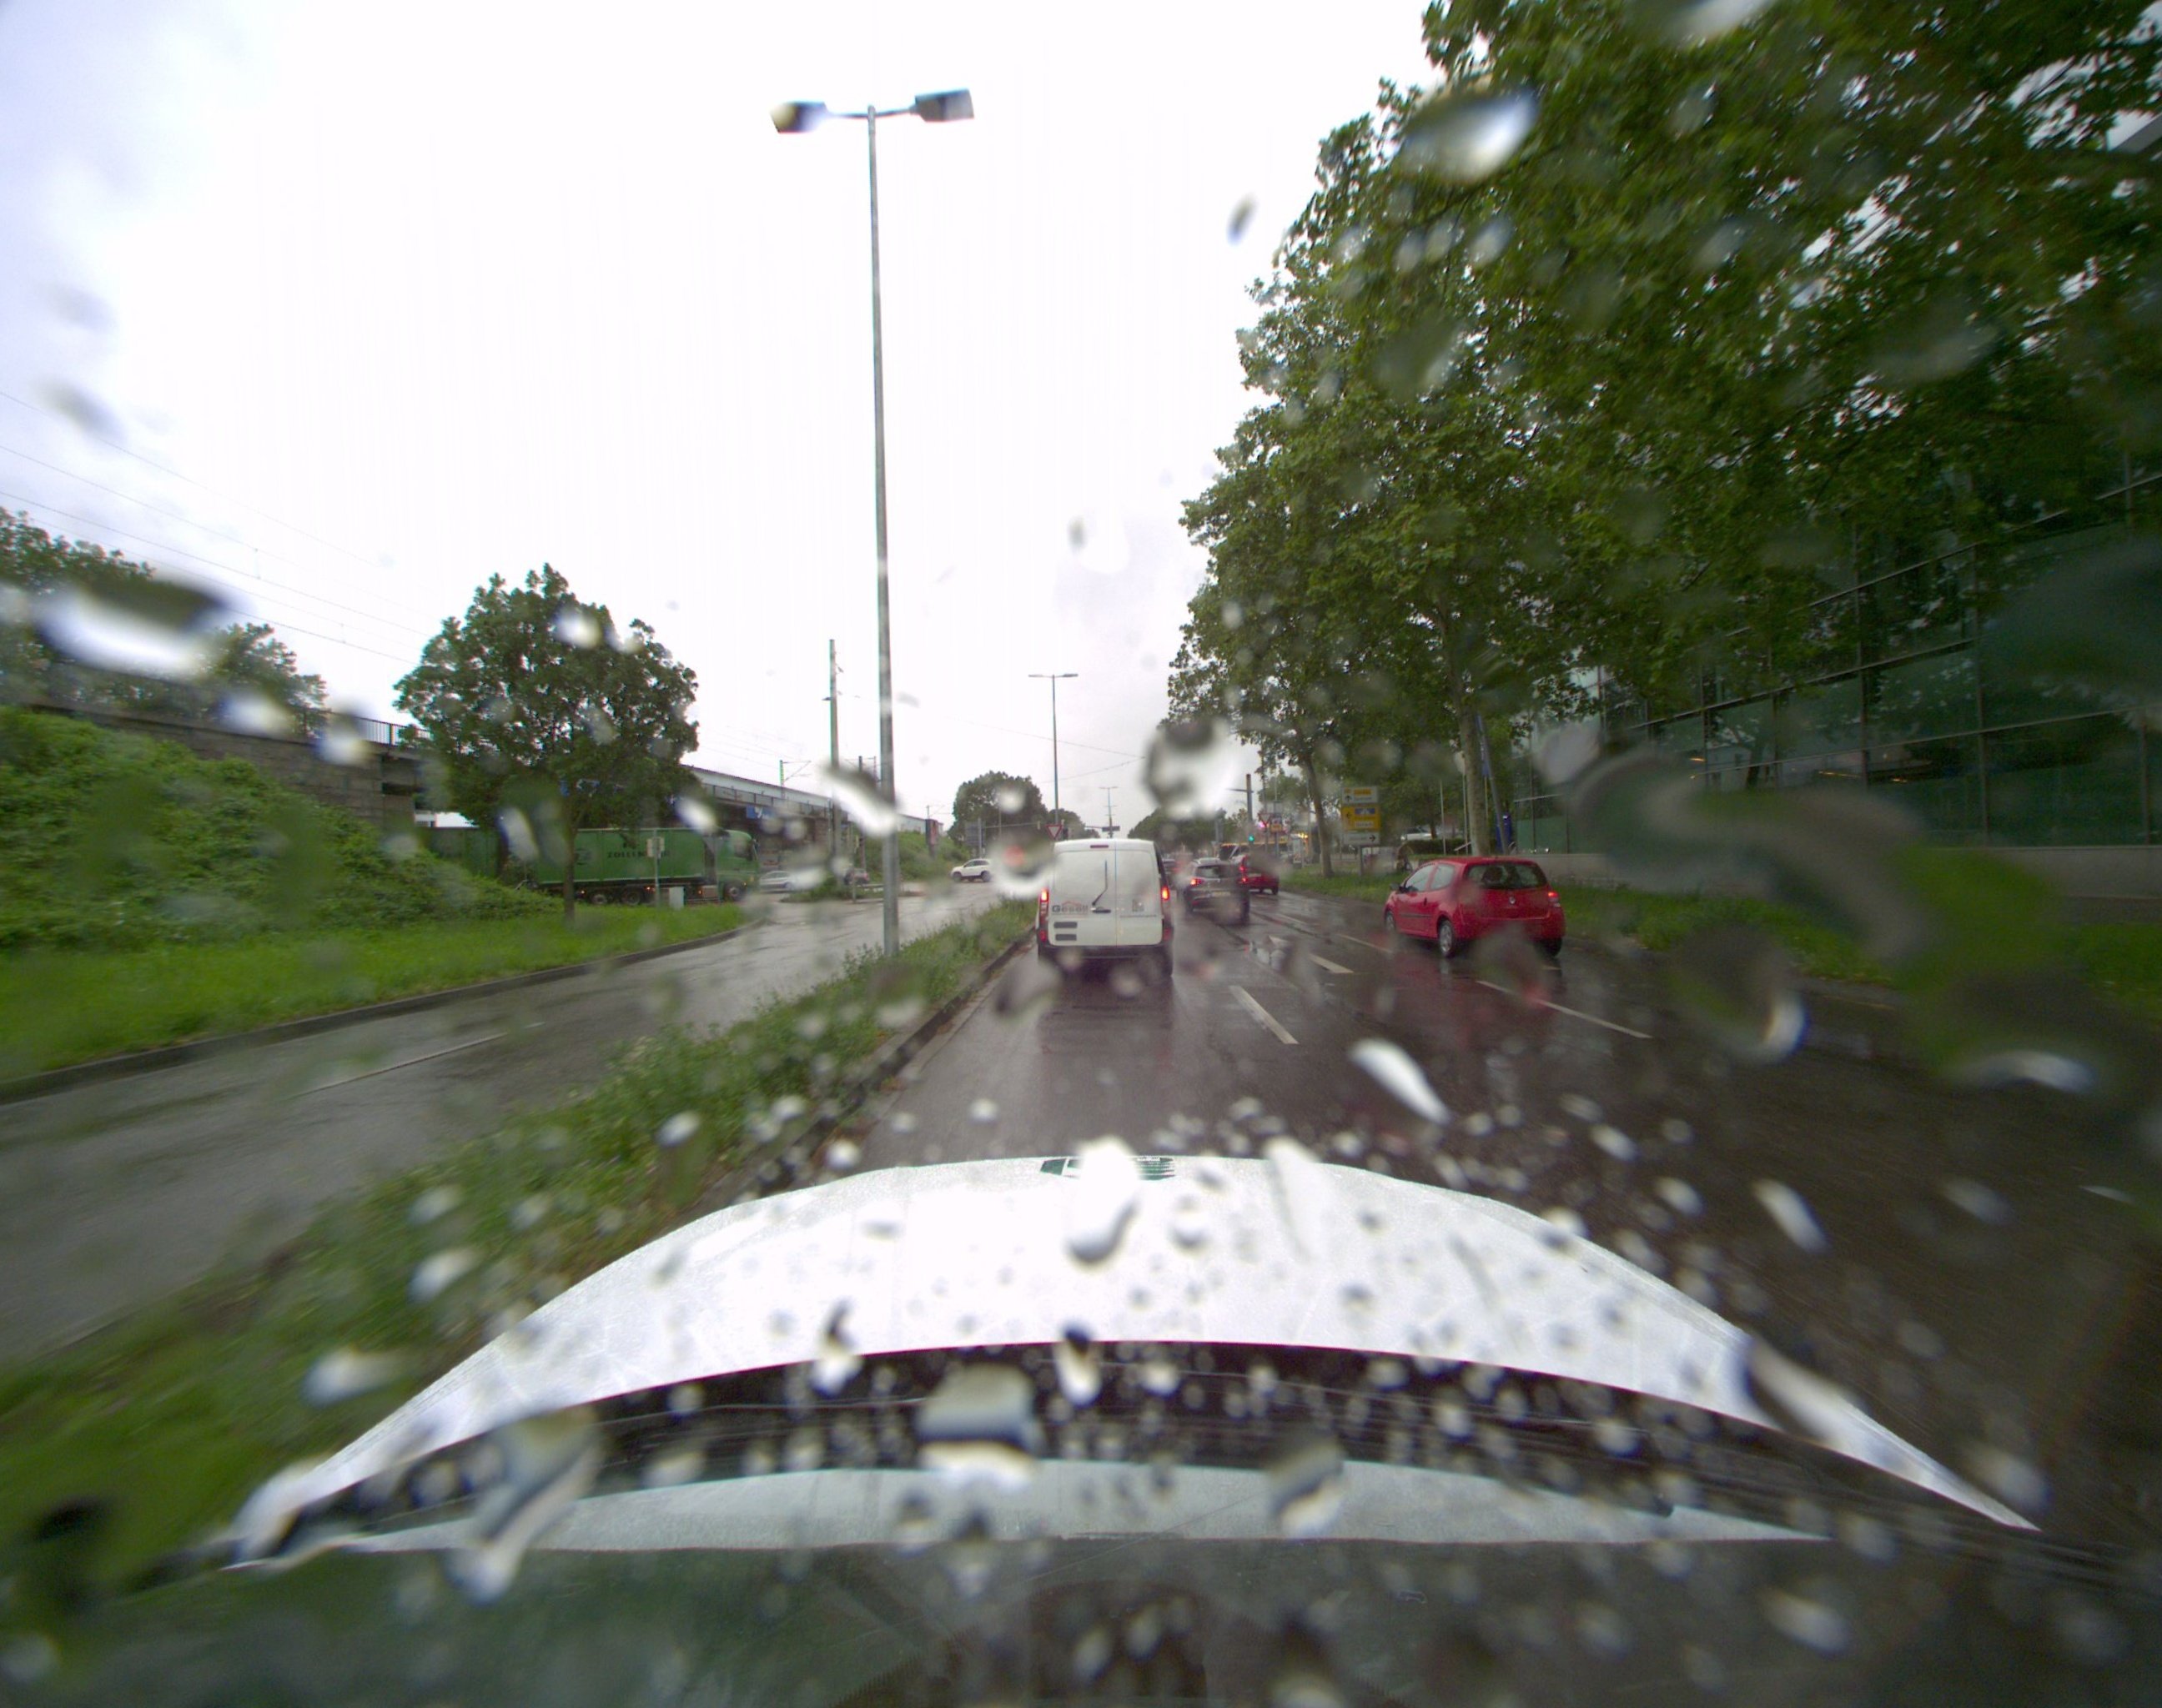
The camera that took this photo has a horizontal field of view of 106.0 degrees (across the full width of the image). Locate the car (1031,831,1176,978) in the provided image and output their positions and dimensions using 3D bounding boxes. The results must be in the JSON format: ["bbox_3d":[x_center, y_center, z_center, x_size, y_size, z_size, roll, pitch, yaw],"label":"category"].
[{"bbox_3d":[0.336,0.625,11.943,1.749,1.777,4.002,-1,0,2],"label":"car"}]

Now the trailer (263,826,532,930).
[{"bbox_3d":[-28.880,0.899,35.090,8.556,3.987,2.660,-2,-1,-35],"label":"trailer"}]

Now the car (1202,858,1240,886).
[{"bbox_3d":[8.424,1.051,49.305,1.835,1.618,4.003,-1,-1,3],"label":"car"}]

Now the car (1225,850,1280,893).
[{"bbox_3d":[6.983,0.701,33.365,1.626,1.656,3.486,0,0,2],"label":"car"}]

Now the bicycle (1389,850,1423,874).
[{"bbox_3d":[16.031,0.398,40.213,0.741,1.104,2.076,-4,-1,0],"label":"bicycle"}]

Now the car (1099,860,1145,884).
[{"bbox_3d":[2.921,1.308,58.790,2.000,1.619,3.919,-2,-1,-19],"label":"car"}]

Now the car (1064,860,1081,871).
[{"bbox_3d":[-1.037,1.425,101.284,1.824,1.358,3.993,-2,0,-4],"label":"car"}]

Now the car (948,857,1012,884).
[{"bbox_3d":[-7.671,1.277,61.804,4.384,1.846,2.013,-3,-1,30],"label":"car"}]

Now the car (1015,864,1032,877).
[{"bbox_3d":[-7.167,2.000,101.040,1.822,1.482,3.998,-2,0,-1],"label":"car"}]

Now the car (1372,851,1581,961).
[{"bbox_3d":[6.118,0.732,13.091,1.672,1.491,3.623,-1,0,2],"label":"car"}]

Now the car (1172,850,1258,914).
[{"bbox_3d":[3.648,0.734,22.801,1.836,1.618,4.001,-1,-1,2],"label":"car"}]

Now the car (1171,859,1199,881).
[{"bbox_3d":[8.211,1.223,64.648,1.985,1.574,4.005,-2,0,4],"label":"car"}]

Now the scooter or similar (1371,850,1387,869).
[{"bbox_3d":[19.293,0.341,52.746,1.181,1.138,0.337,-2,-1,-38],"label":"scooter or similar"}]

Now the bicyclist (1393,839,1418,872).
[{"bbox_3d":[15.995,0.079,40.210,0.802,1.515,0.752,-5,-1,-1],"label":"bicyclist"}]

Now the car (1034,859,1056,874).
[{"bbox_3d":[-4.237,1.486,96.561,2.012,1.657,4.067,-2,0,5],"label":"car"}]

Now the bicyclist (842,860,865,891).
[{"bbox_3d":[-12.207,1.147,43.721,1.049,1.593,0.798,0,-2,-26],"label":"bicyclist"}]

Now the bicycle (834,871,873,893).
[{"bbox_3d":[-12.201,1.486,43.719,1.916,1.095,0.689,-1,-1,-26],"label":"bicycle"}]

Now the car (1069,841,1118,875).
[{"bbox_3d":[0.720,0.271,51.728,1.995,1.956,4.800,-3,0,-12],"label":"car"}]

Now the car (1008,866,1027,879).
[{"bbox_3d":[-7.321,2.110,94.599,1.886,1.349,3.999,-2,0,0],"label":"car"}]

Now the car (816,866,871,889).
[{"bbox_3d":[-18.347,1.803,63.092,3.891,1.517,1.800,-2,-1,-14],"label":"car"}]

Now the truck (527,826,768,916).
[{"bbox_3d":[-21.244,0.702,40.425,10.235,3.949,2.659,-2,-1,-34],"label":"truck"}]

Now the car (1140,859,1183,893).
[{"bbox_3d":[4.149,1.118,42.699,1.830,1.656,3.998,0,0,-1],"label":"car"}]

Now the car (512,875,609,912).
[{"bbox_3d":[-26.163,1.934,40.977,4.017,1.574,1.978,-2,0,-35],"label":"car"}]

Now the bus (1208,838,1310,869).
[{"bbox_3d":[22.502,-0.051,103.576,12.205,3.268,3.275,-2,-1,1],"label":"bus"}]

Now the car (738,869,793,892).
[{"bbox_3d":[-24.914,2.093,64.347,3.856,1.573,1.850,-2,-1,-27],"label":"car"}]
